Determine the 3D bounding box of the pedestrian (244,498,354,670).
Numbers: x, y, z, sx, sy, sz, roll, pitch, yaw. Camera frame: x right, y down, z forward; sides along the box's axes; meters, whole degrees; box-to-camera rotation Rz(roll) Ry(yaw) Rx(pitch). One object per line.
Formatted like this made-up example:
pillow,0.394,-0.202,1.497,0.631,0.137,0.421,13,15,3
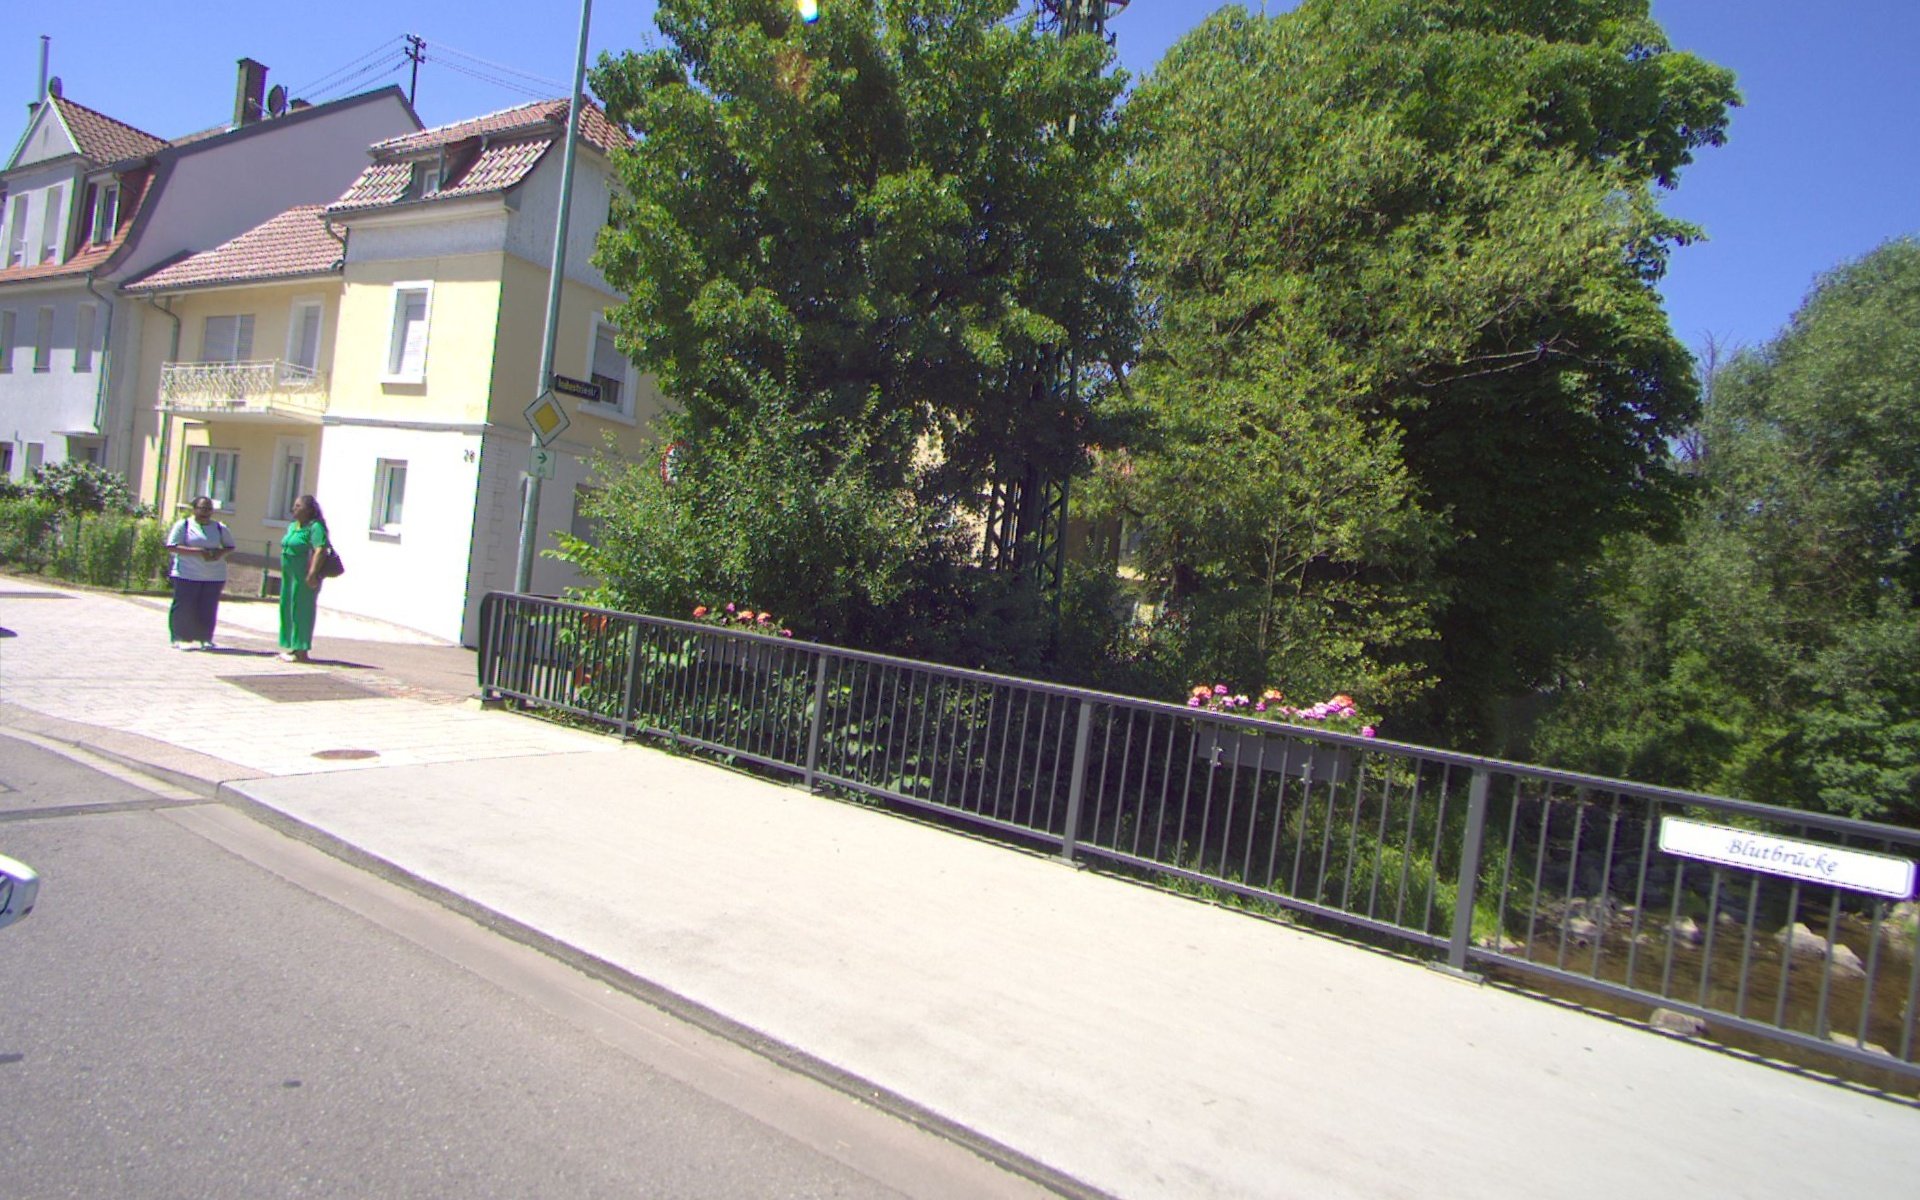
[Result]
pedestrian,-7.096,-0.181,10.807,0.789,1.731,0.520,6,4,12

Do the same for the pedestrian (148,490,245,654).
pedestrian,-8.222,-0.296,10.841,0.512,1.678,0.636,8,5,29
